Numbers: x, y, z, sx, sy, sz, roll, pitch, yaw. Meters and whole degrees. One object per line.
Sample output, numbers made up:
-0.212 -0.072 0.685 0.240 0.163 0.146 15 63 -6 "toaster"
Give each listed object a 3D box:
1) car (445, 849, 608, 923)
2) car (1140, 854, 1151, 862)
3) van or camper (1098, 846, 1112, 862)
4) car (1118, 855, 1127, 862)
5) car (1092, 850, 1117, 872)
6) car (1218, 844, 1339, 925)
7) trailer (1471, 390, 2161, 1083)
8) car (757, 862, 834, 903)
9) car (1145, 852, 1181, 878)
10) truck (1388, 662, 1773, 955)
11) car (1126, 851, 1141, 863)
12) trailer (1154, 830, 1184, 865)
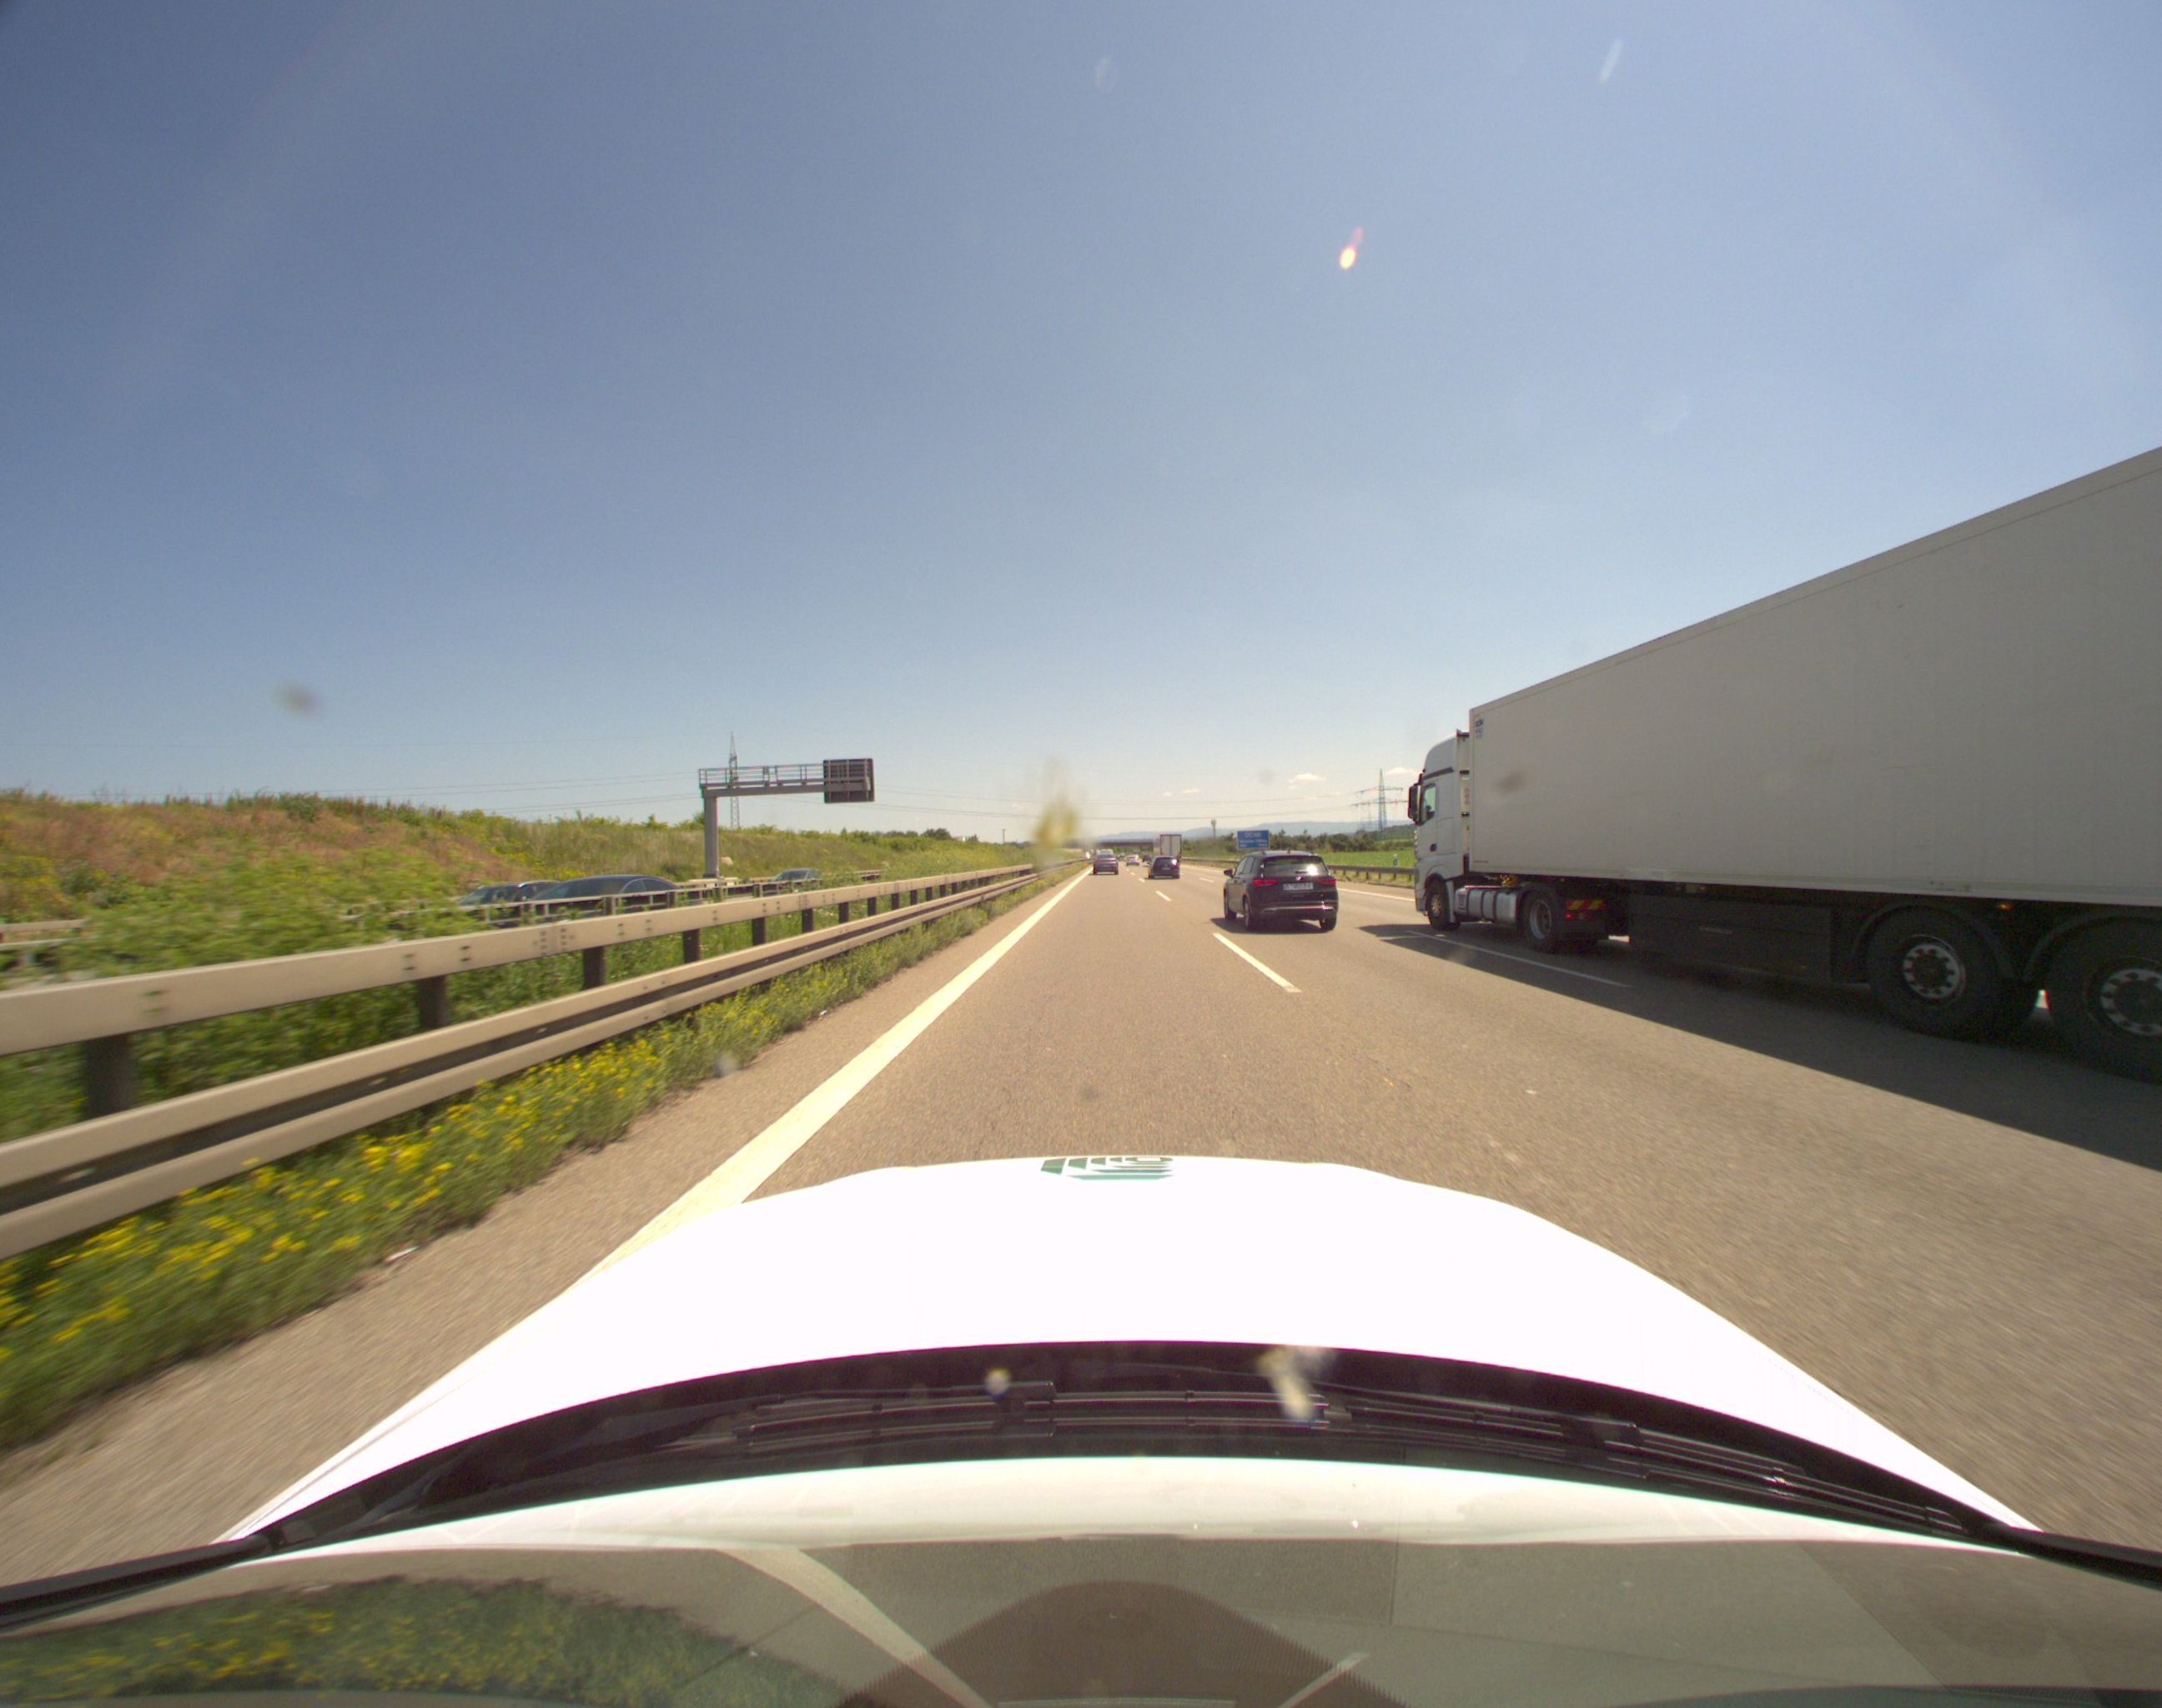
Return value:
-16.178 0.871 24.057 1.986 2.014 4.001 0 0 2 "car"
13.169 0.839 166.976 1.986 1.683 4.002 0 0 2 "car"
3.622 0.021 120.912 2.102 2.211 5.268 0 0 2 "van or camper"
10.227 1.047 201.318 1.986 1.683 4.002 0 0 2 "car"
1.817 0.564 63.829 1.846 1.664 3.733 0 0 -1 "car"
4.177 0.602 17.801 1.790 1.562 3.824 0 0 1 "car"
8.086 -0.708 7.576 2.857 4.220 13.298 0 0 1 "trailer"
-11.940 1.148 34.308 1.667 1.510 3.885 -4 0 1 "car"
5.162 0.664 51.954 1.926 1.574 4.936 0 0 1 "car"
8.253 -0.623 14.787 2.852 4.091 6.880 0 0 1 "truck"
7.325 0.448 114.336 1.986 1.683 4.002 0 0 2 "car"
11.314 -0.759 105.443 2.932 4.198 13.603 0 0 2 "trailer"
